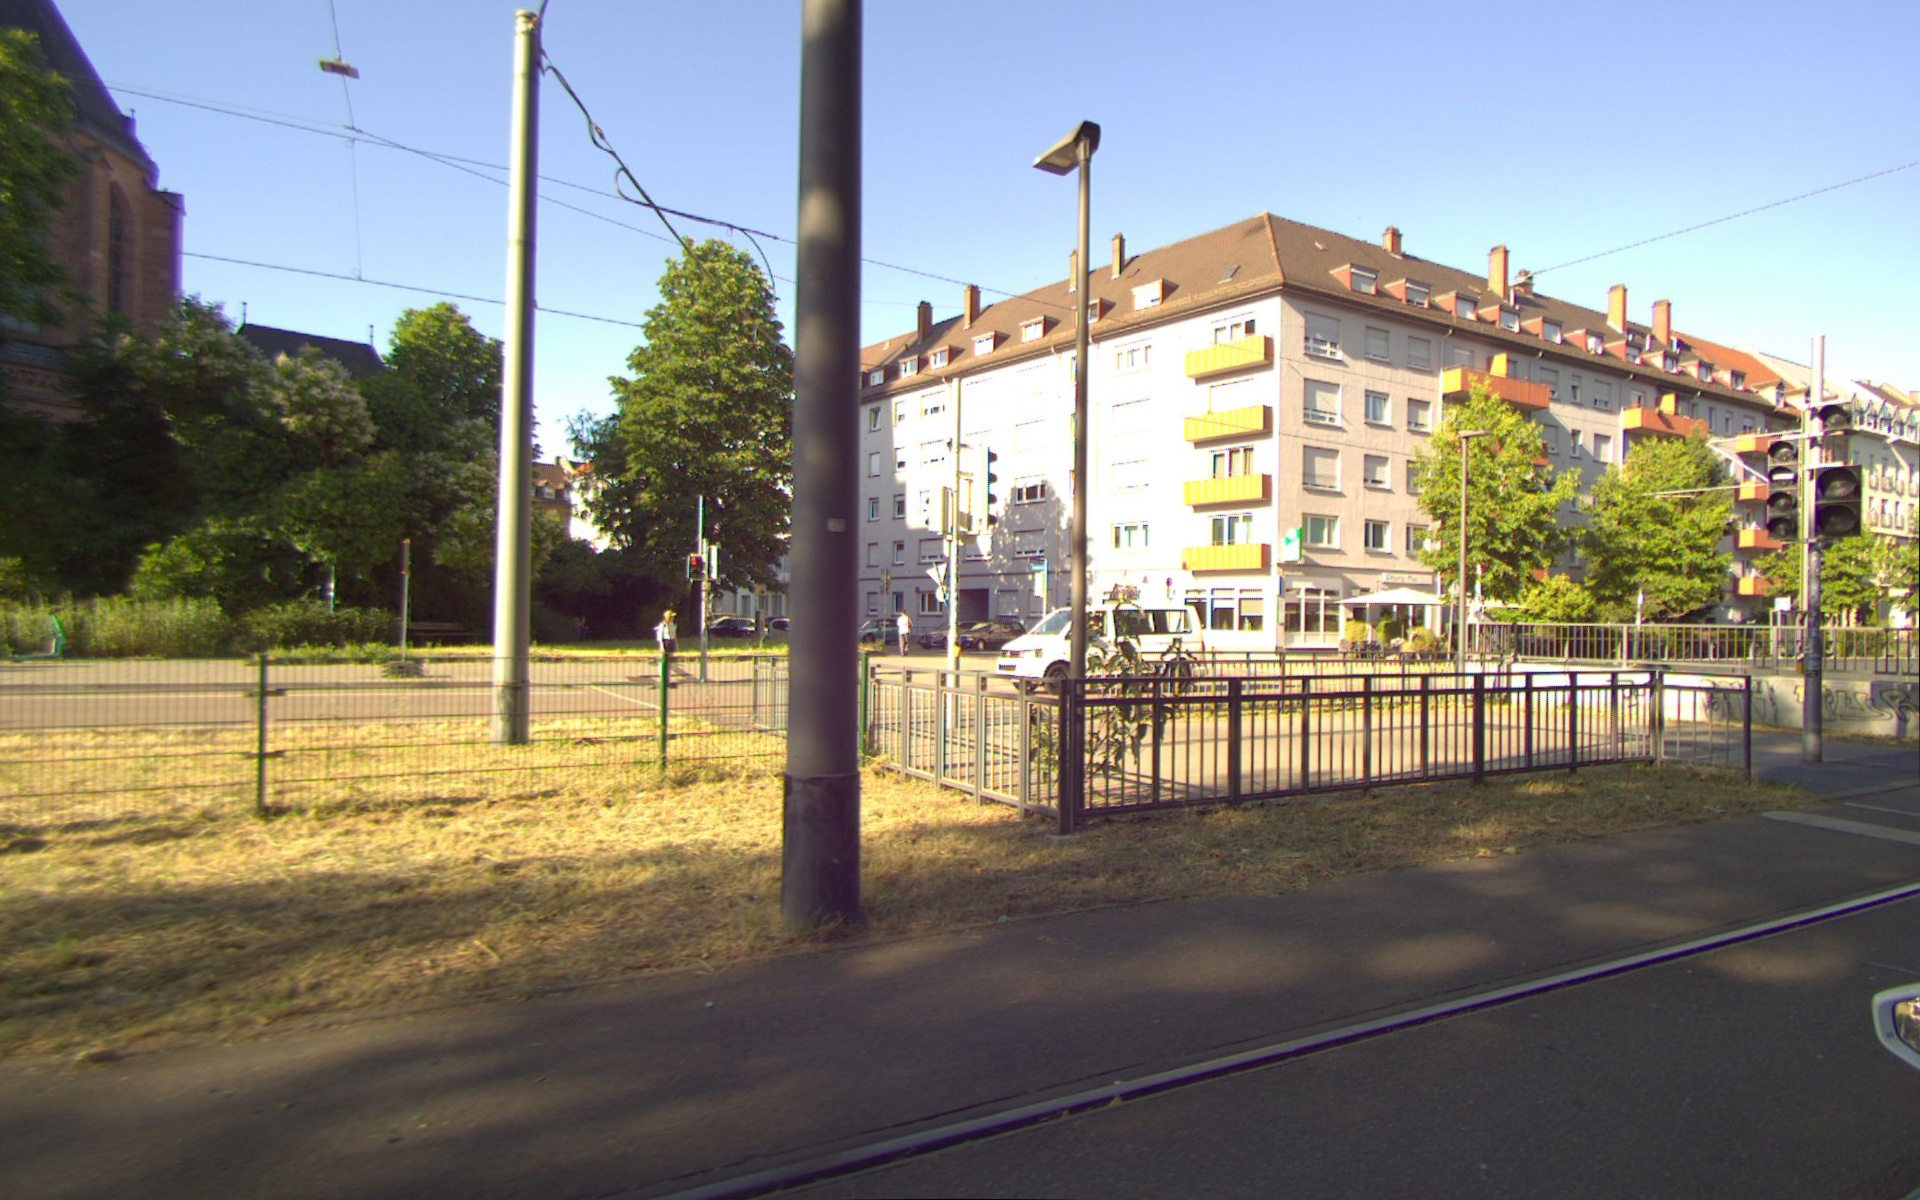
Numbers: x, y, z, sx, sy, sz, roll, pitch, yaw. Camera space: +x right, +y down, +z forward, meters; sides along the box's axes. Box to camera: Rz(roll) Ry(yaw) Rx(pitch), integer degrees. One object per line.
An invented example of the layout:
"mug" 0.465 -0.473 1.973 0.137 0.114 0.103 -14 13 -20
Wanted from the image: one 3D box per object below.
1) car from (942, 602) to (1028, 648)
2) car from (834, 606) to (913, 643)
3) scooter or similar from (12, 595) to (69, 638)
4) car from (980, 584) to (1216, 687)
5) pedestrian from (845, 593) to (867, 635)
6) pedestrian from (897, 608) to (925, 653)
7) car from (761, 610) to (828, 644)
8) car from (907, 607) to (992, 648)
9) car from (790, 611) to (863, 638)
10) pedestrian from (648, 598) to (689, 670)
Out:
"car" 1.260 1.238 49.479 3.952 2.040 1.802 2 2 -42
"car" -4.867 1.376 56.707 3.970 1.884 1.975 2 2 -42
"scooter or similar" -20.858 0.382 22.794 0.304 0.948 0.916 5 2 39
"car" 3.130 0.855 22.790 4.939 2.040 1.990 3 -3 -22
"pedestrian" -4.251 0.579 40.993 0.712 1.676 0.508 3 -2 -31
"pedestrian" -1.795 1.117 36.896 0.719 1.577 0.654 3 2 -30
"car" -8.094 1.298 48.929 1.684 1.439 3.635 3 0 -38
"car" -0.536 1.440 51.544 3.970 1.884 1.975 2 2 -42
"car" -8.129 1.500 61.298 3.970 1.439 1.975 3 2 -42
"pedestrian" -7.054 0.813 24.302 0.750 1.695 0.488 2 2 -44
